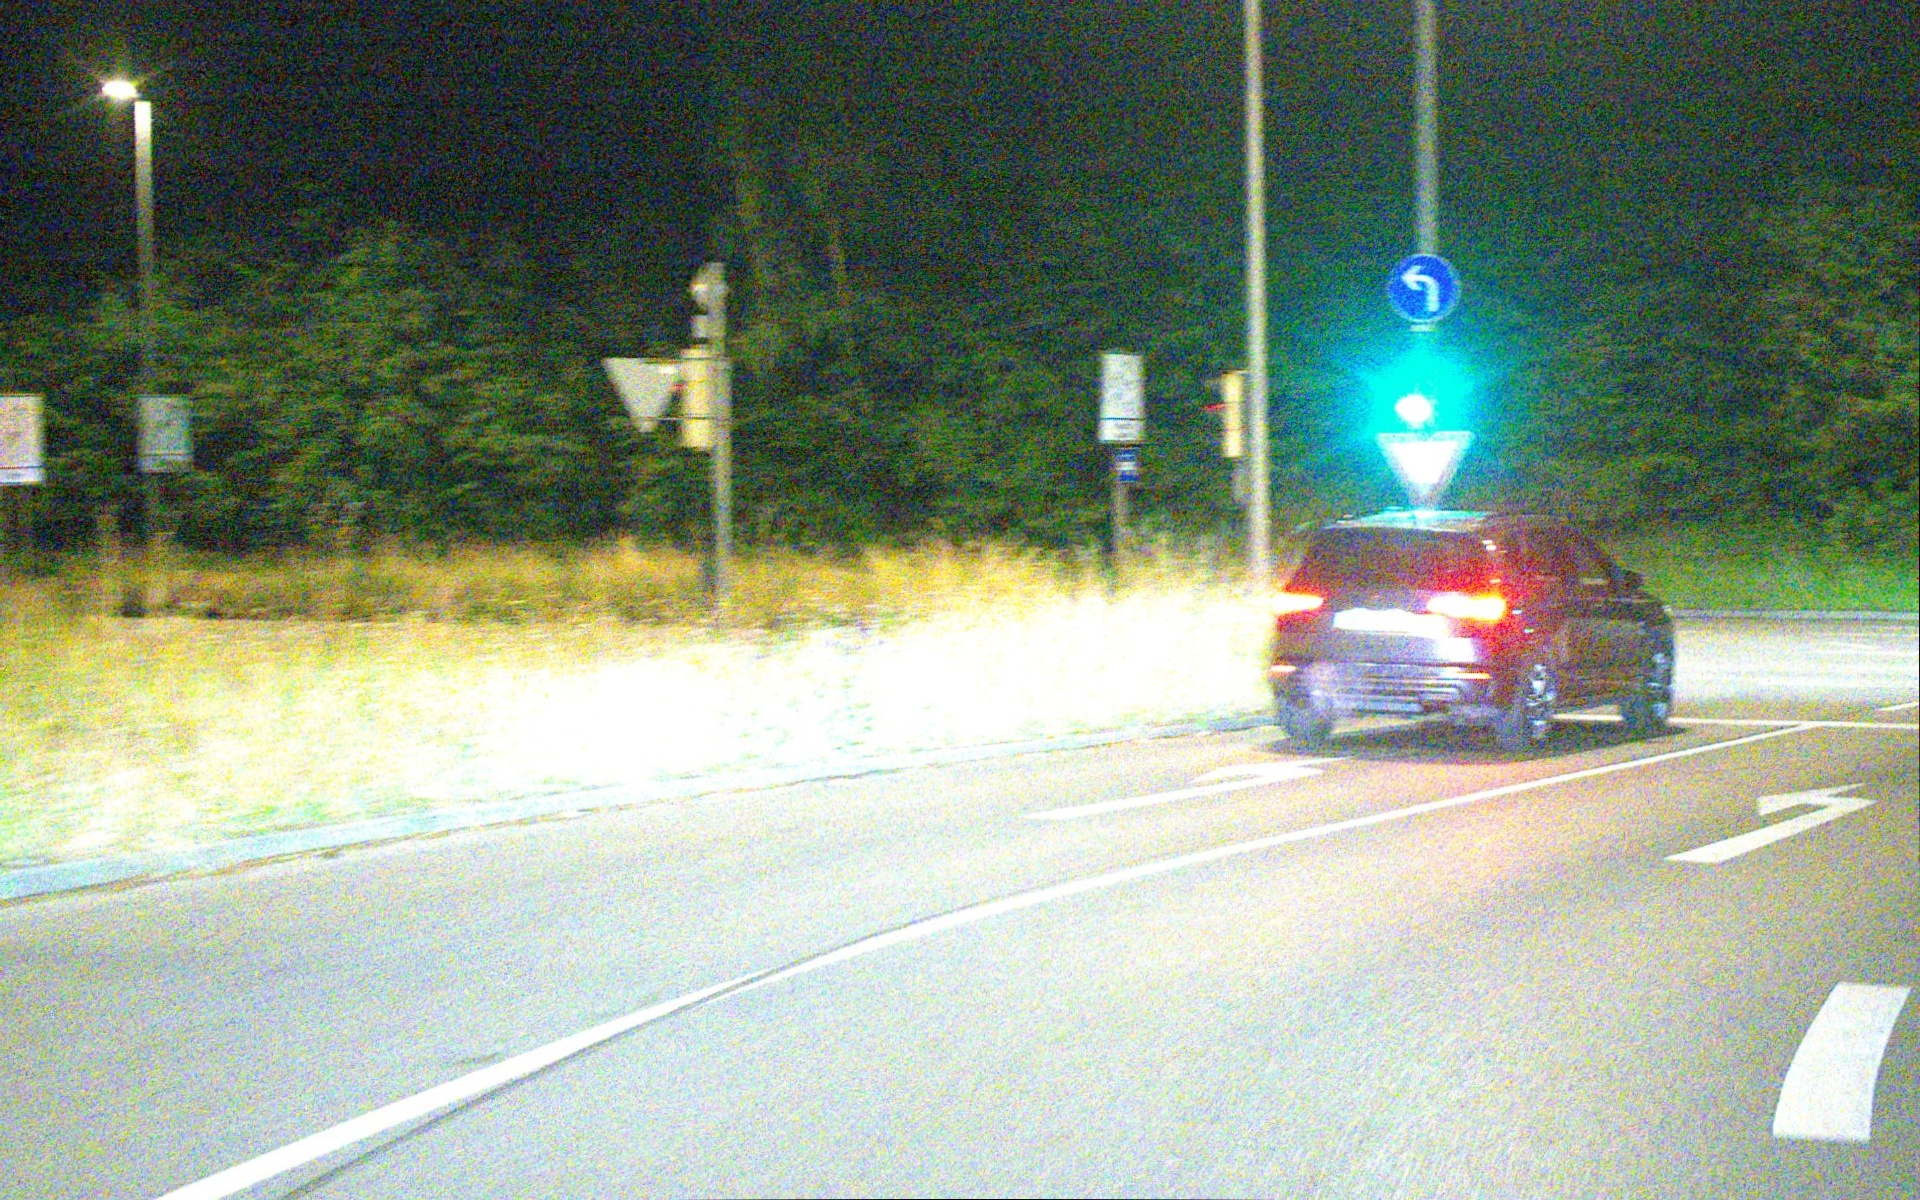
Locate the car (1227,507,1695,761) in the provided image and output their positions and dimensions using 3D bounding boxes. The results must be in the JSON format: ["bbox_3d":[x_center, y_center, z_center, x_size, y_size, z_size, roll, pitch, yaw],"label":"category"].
[{"bbox_3d":[3.583,0.161,23.996,1.855,1.577,4.000,2,2,30],"label":"car"}]
